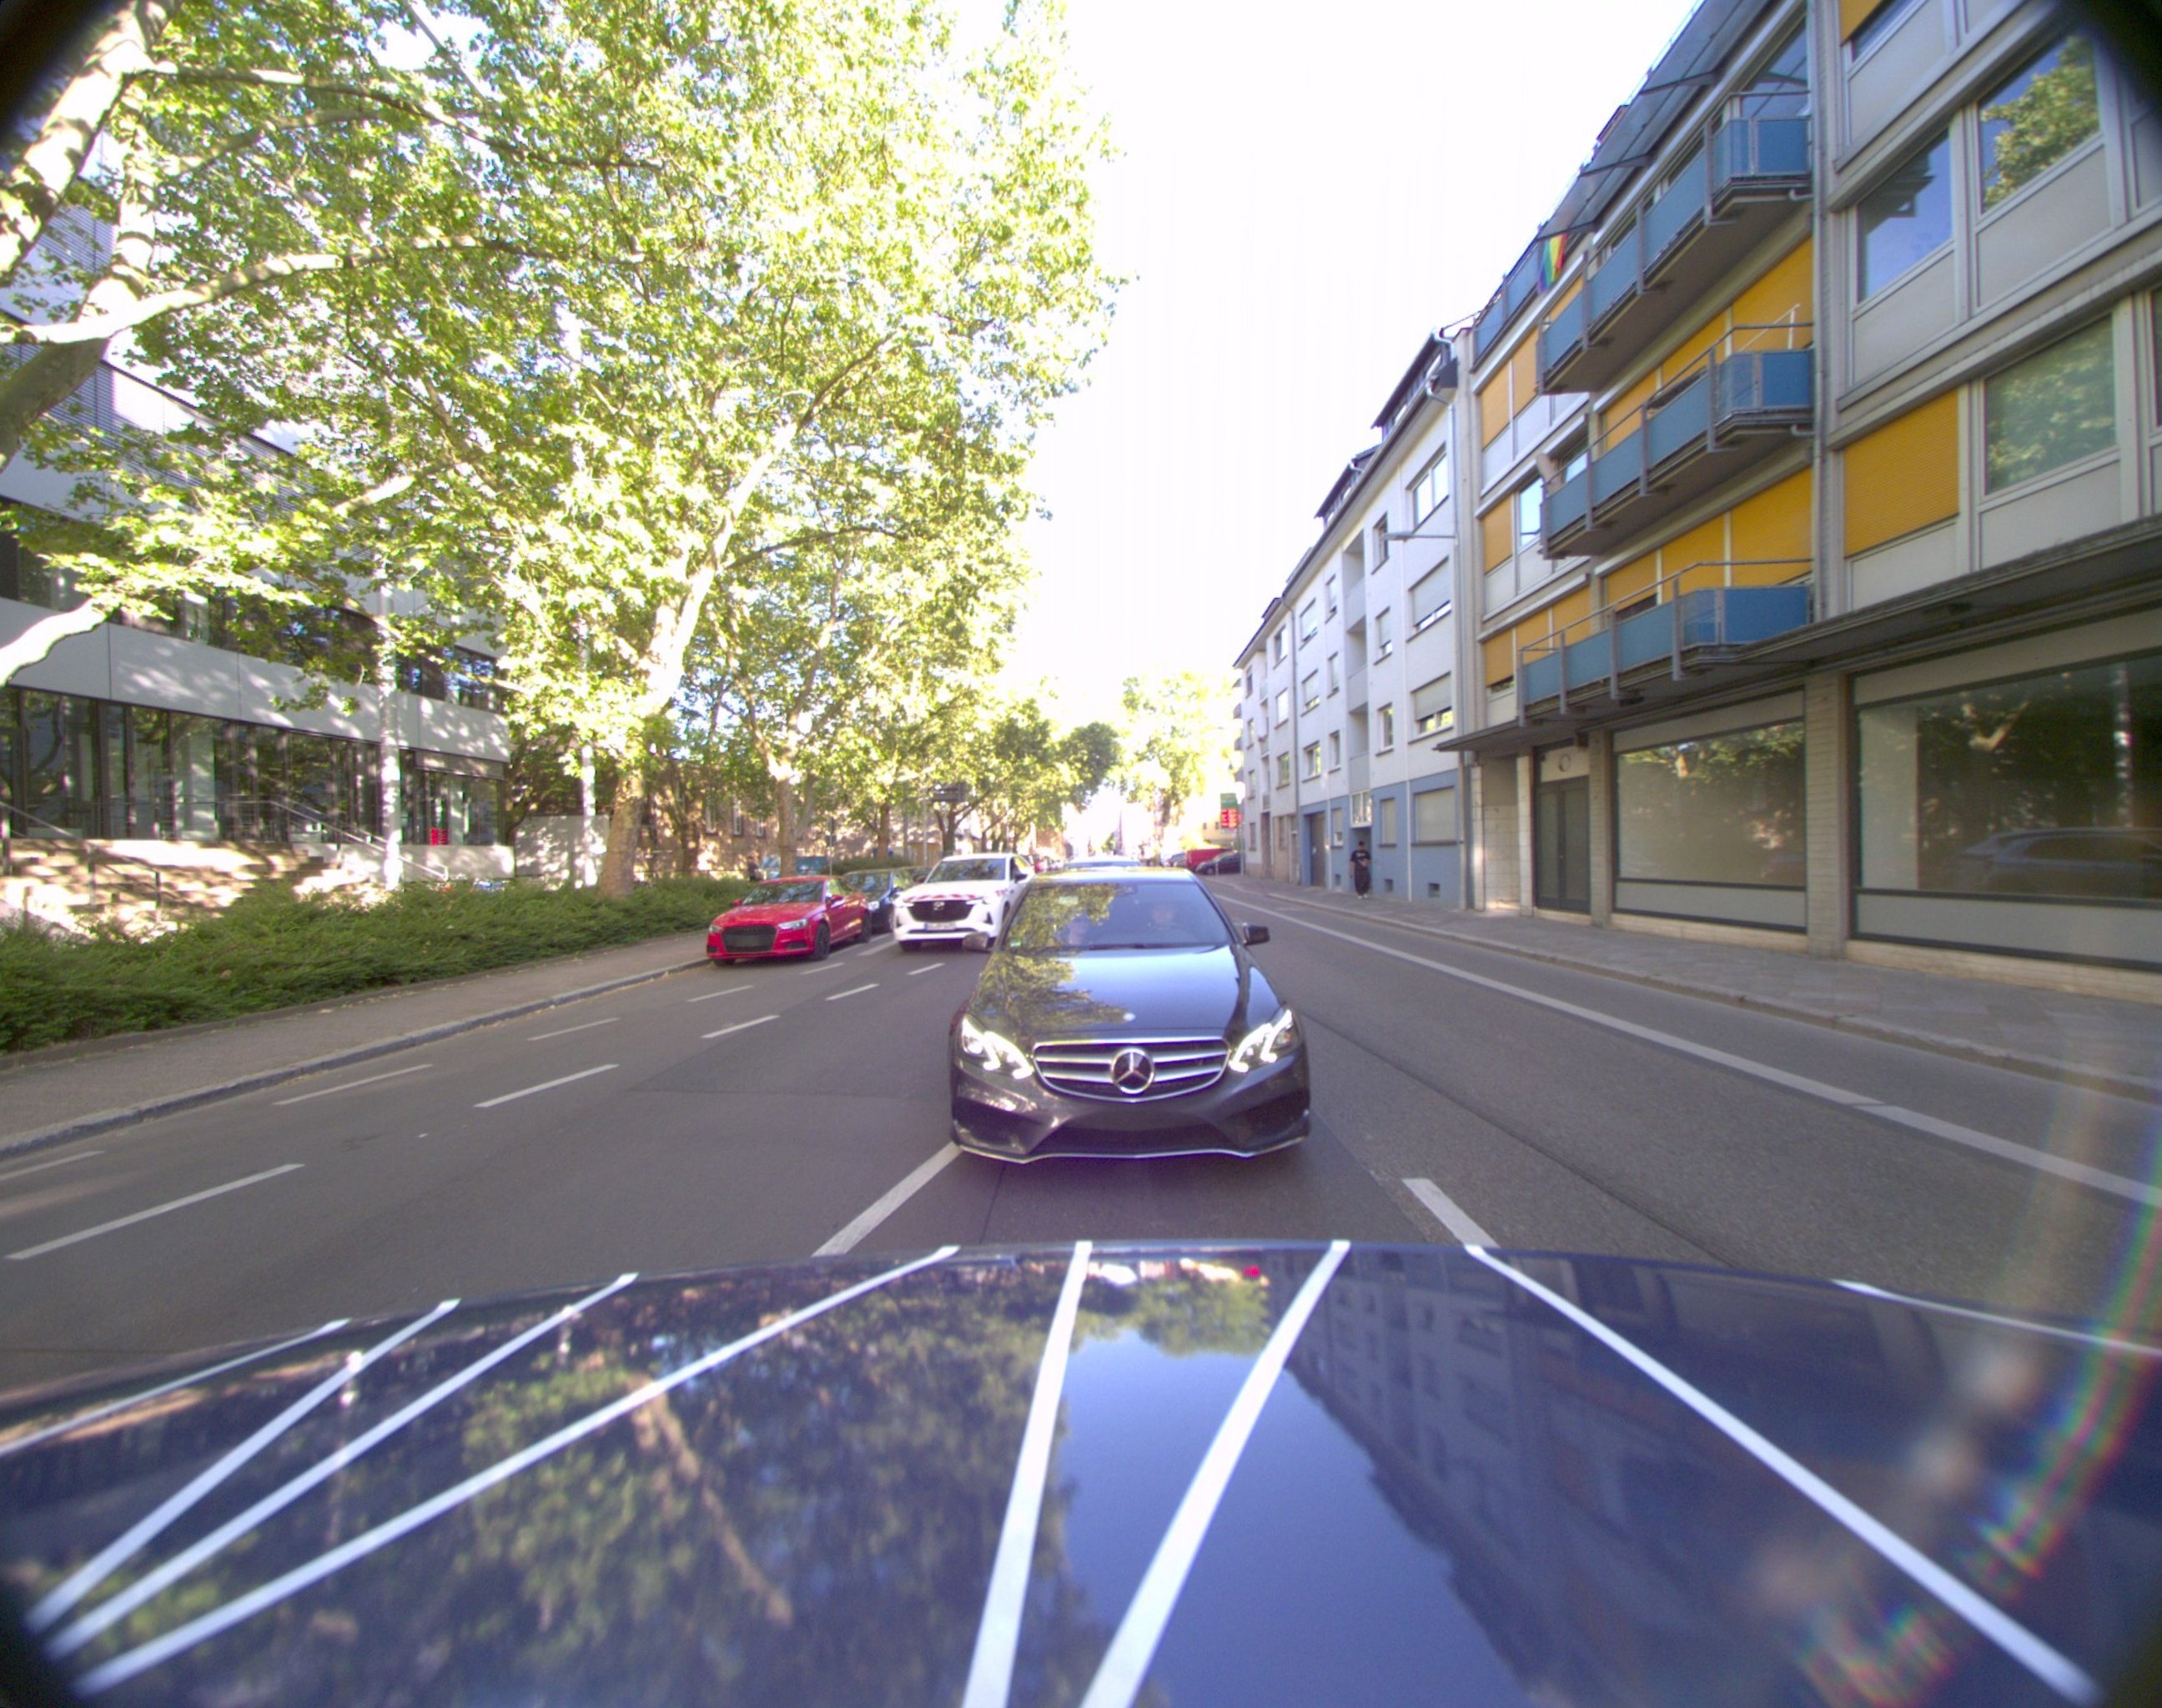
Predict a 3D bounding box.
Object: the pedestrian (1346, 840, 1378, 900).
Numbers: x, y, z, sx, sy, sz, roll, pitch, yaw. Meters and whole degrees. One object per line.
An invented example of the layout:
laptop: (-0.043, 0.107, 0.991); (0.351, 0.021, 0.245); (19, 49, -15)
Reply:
pedestrian: (8.463, 0.463, 22.899); (0.663, 1.761, 0.793); (-2, 1, 6)

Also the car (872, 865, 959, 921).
car: (-5.039, 1.144, 23.661); (1.755, 1.459, 3.909); (-3, 0, 1)

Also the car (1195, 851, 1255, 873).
car: (10.351, 0.563, 54.787); (3.997, 1.412, 1.743); (-2, 0, 1)

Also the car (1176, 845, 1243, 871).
car: (10.631, 0.295, 63.111); (5.223, 1.969, 2.257); (-2, 0, 1)

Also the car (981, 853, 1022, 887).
car: (-4.559, 0.869, 44.068); (1.755, 1.810, 4.447); (-3, 0, 1)

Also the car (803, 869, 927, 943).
car: (-5.090, 1.171, 18.449); (1.755, 1.424, 3.909); (-3, 0, 1)

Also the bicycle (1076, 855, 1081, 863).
bicycle: (-0.364, 0.733, 114.089); (0.650, 1.053, 1.595); (-2, 0, 1)

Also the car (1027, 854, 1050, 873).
car: (-4.008, 0.901, 72.181); (1.755, 1.652, 4.447); (-3, 0, 1)

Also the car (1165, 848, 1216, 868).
car: (11.281, 0.374, 78.726); (4.991, 1.926, 2.083); (-2, 0, 1)

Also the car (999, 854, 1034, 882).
car: (-4.278, 0.878, 50.951); (1.755, 1.718, 4.447); (-3, 0, 1)

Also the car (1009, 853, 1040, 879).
car: (-4.108, 0.820, 55.761); (1.755, 1.753, 4.447); (-3, 0, 1)

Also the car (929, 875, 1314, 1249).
car: (0.207, 0.982, 5.363); (1.667, 1.499, 4.000); (-1, 0, 1)

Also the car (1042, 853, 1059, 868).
car: (-3.654, 0.771, 93.010); (1.755, 1.652, 4.447); (-3, 0, 1)

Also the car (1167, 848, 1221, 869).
car: (11.266, 0.405, 76.228); (5.054, 1.926, 2.161); (-2, 0, 1)

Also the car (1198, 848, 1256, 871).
car: (10.907, 0.392, 56.997); (3.997, 1.552, 1.743); (-2, 0, 1)

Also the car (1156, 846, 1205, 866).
car: (11.183, 0.202, 85.527); (5.143, 2.135, 2.187); (-2, 0, 1)

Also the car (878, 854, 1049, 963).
car: (-2.035, 0.902, 14.676); (1.947, 1.698, 4.486); (-3, 0, 8)

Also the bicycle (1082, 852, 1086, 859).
bicycle: (0.504, 0.246, 114.075); (0.574, 1.053, 1.595); (-2, 0, 1)

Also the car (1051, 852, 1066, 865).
car: (-3.022, 0.648, 103.209); (1.755, 1.652, 4.447); (-3, 0, 1)

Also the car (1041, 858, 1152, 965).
car: (0.266, 0.885, 13.615); (1.667, 1.563, 4.000); (-1, 0, 1)

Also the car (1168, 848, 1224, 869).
car: (11.094, 0.444, 73.527); (5.143, 1.926, 2.187); (-2, 0, 1)

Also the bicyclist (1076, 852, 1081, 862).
bicyclist: (-0.368, 0.412, 114.082); (0.650, 1.427, 0.741); (-2, 1, 1)

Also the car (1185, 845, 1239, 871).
car: (10.326, 0.301, 60.087); (3.997, 1.926, 1.867); (-2, 0, 1)

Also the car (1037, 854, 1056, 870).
car: (-3.782, 0.868, 83.521); (1.755, 1.652, 4.447); (-3, 0, 1)

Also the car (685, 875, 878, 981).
car: (-5.112, 1.191, 13.603); (1.755, 1.400, 4.000); (-3, 0, 1)

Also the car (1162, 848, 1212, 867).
car: (11.316, 0.348, 81.191); (5.042, 1.926, 2.315); (-2, 0, 1)

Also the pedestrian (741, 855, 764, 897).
pedestrian: (-13.117, 0.876, 30.340); (0.525, 1.660, 0.661); (-2, 1, 2)

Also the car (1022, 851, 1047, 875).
car: (-4.002, 0.727, 66.395); (1.755, 1.941, 4.447); (-3, 0, 1)
